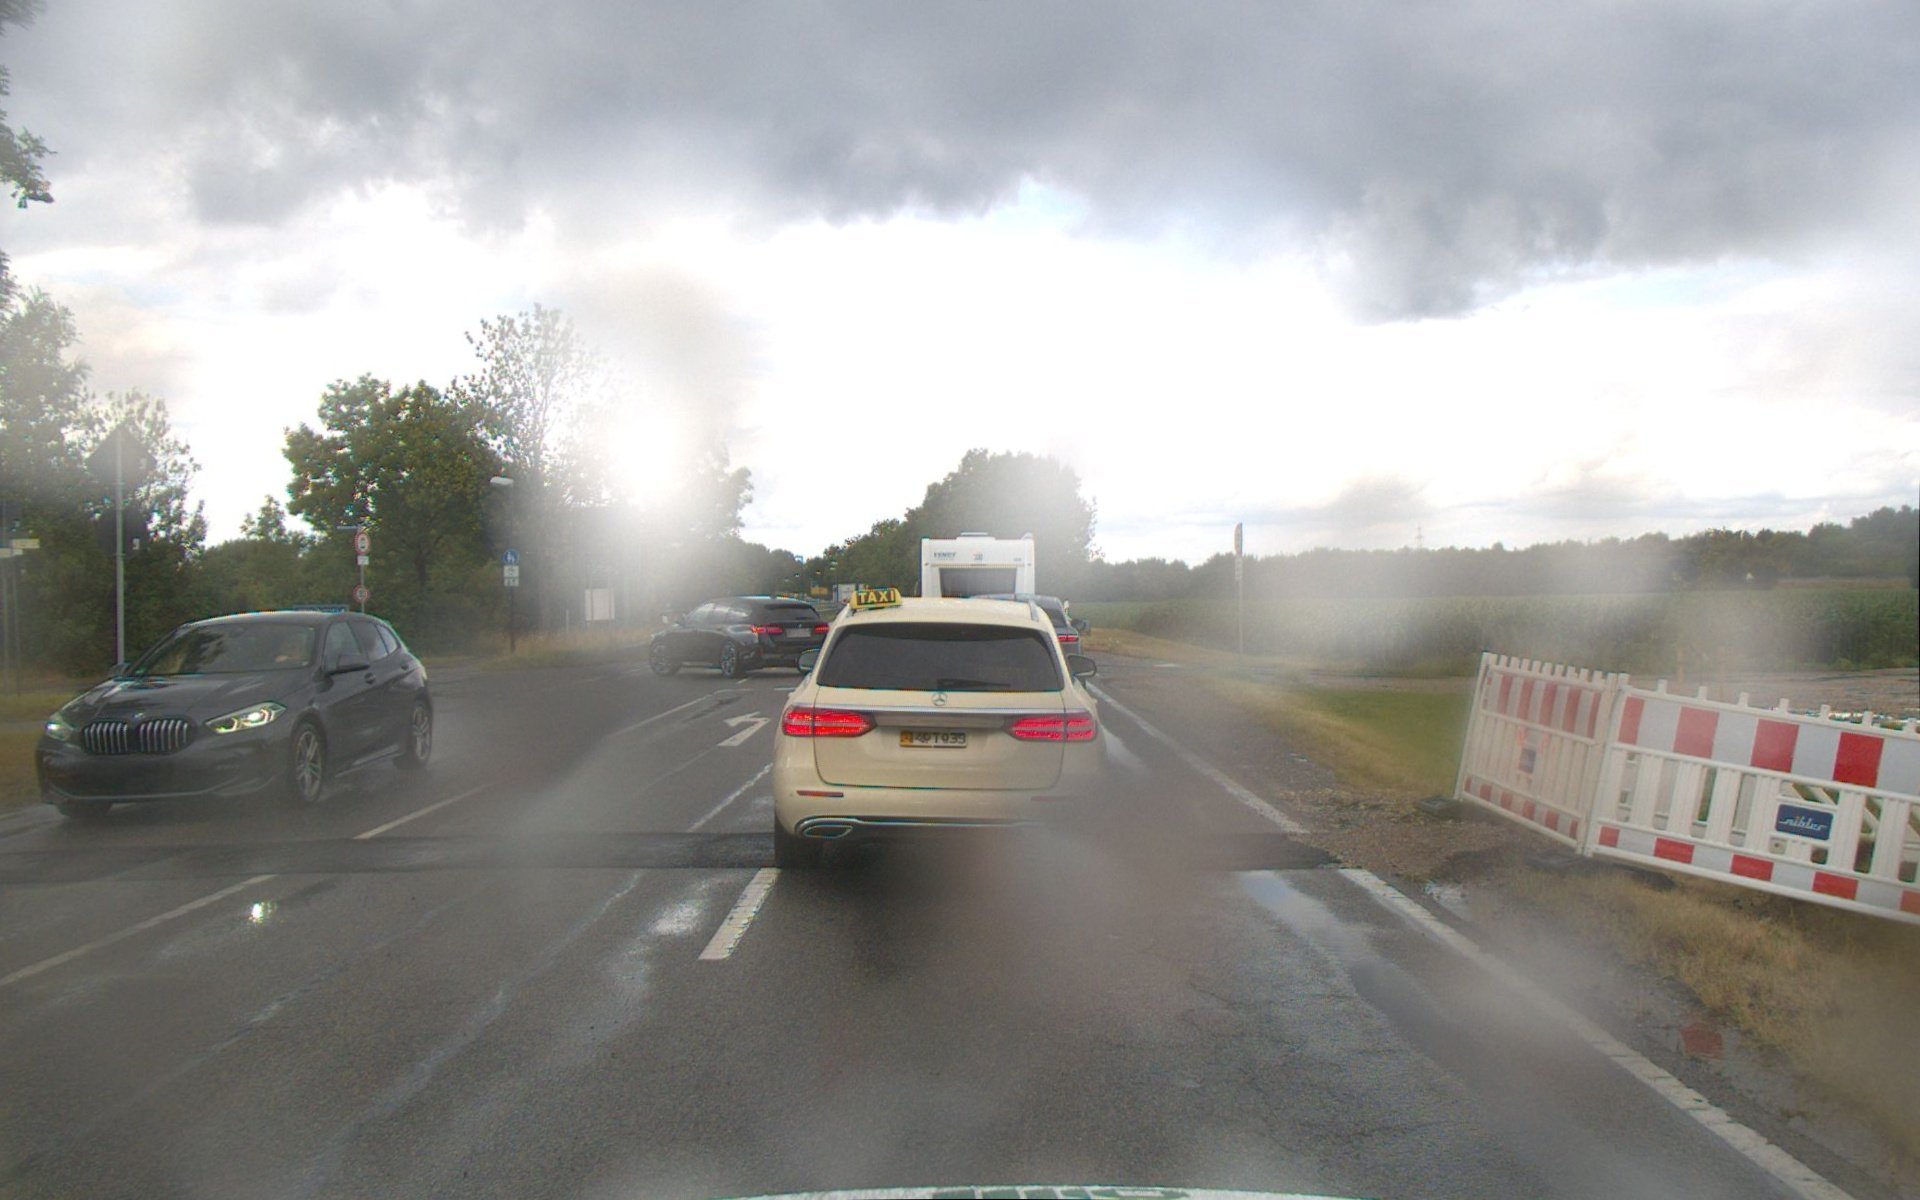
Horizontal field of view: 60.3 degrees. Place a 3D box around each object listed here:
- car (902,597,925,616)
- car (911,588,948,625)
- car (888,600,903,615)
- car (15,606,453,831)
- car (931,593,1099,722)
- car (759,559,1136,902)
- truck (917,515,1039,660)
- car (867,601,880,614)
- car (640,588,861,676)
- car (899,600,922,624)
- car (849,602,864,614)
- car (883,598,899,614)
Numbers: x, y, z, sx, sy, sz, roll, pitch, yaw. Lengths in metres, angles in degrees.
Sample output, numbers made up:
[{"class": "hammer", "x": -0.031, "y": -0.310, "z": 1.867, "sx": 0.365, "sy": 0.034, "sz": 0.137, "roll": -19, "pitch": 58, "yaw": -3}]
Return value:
[{"class": "car", "x": -4.465, "y": 0.616, "z": 159.491, "sx": 1.954, "sy": 1.803, "sz": 3.996, "roll": -1, "pitch": 0, "yaw": -5}, {"class": "car", "x": -1.624, "y": 0.331, "z": 86.674, "sx": 1.877, "sy": 1.873, "sz": 3.794, "roll": -1, "pitch": 0, "yaw": -2}, {"class": "car", "x": -7.783, "y": 0.898, "z": 199.784, "sx": 1.714, "sy": 1.691, "sz": 3.669, "roll": -1, "pitch": 0, "yaw": -5}, {"class": "car", "x": -5.541, "y": 0.813, "z": 13.239, "sx": 1.684, "sy": 1.429, "sz": 4.043, "roll": -2, "pitch": 0, "yaw": 0}, {"class": "car", "x": 0.618, "y": 0.688, "z": 21.505, "sx": 1.953, "sy": 1.488, "sz": 3.999, "roll": 1, "pitch": 0, "yaw": -1}, {"class": "car", "x": -0.087, "y": 0.634, "z": 9.983, "sx": 1.805, "sy": 1.646, "sz": 3.999, "roll": 0, "pitch": 0, "yaw": -1}, {"class": "truck", "x": 0.295, "y": -0.260, "z": 35.755, "sx": 2.315, "sy": 2.776, "sz": 7.313, "roll": -1, "pitch": 0, "yaw": -1}, {"class": "car", "x": -12.742, "y": 1.042, "z": 244.246, "sx": 1.857, "sy": 1.872, "sz": 3.879, "roll": -1, "pitch": 0, "yaw": -3}, {"class": "car", "x": -4.149, "y": 0.581, "z": 32.122, "sx": 2.285, "sy": 1.574, "sz": 4.570, "roll": 1, "pitch": 0, "yaw": -37}, {"class": "car", "x": -3.884, "y": 0.938, "z": 131.205, "sx": 1.755, "sy": 1.808, "sz": 3.720, "roll": -1, "pitch": 0, "yaw": -1}, {"class": "car", "x": -14.585, "y": 1.137, "z": 232.658, "sx": 1.791, "sy": 1.601, "sz": 3.999, "roll": 1, "pitch": 0, "yaw": 0}, {"class": "car", "x": -8.848, "y": 0.788, "z": 212.033, "sx": 1.858, "sy": 1.928, "sz": 3.840, "roll": -1, "pitch": 0, "yaw": -4}]
